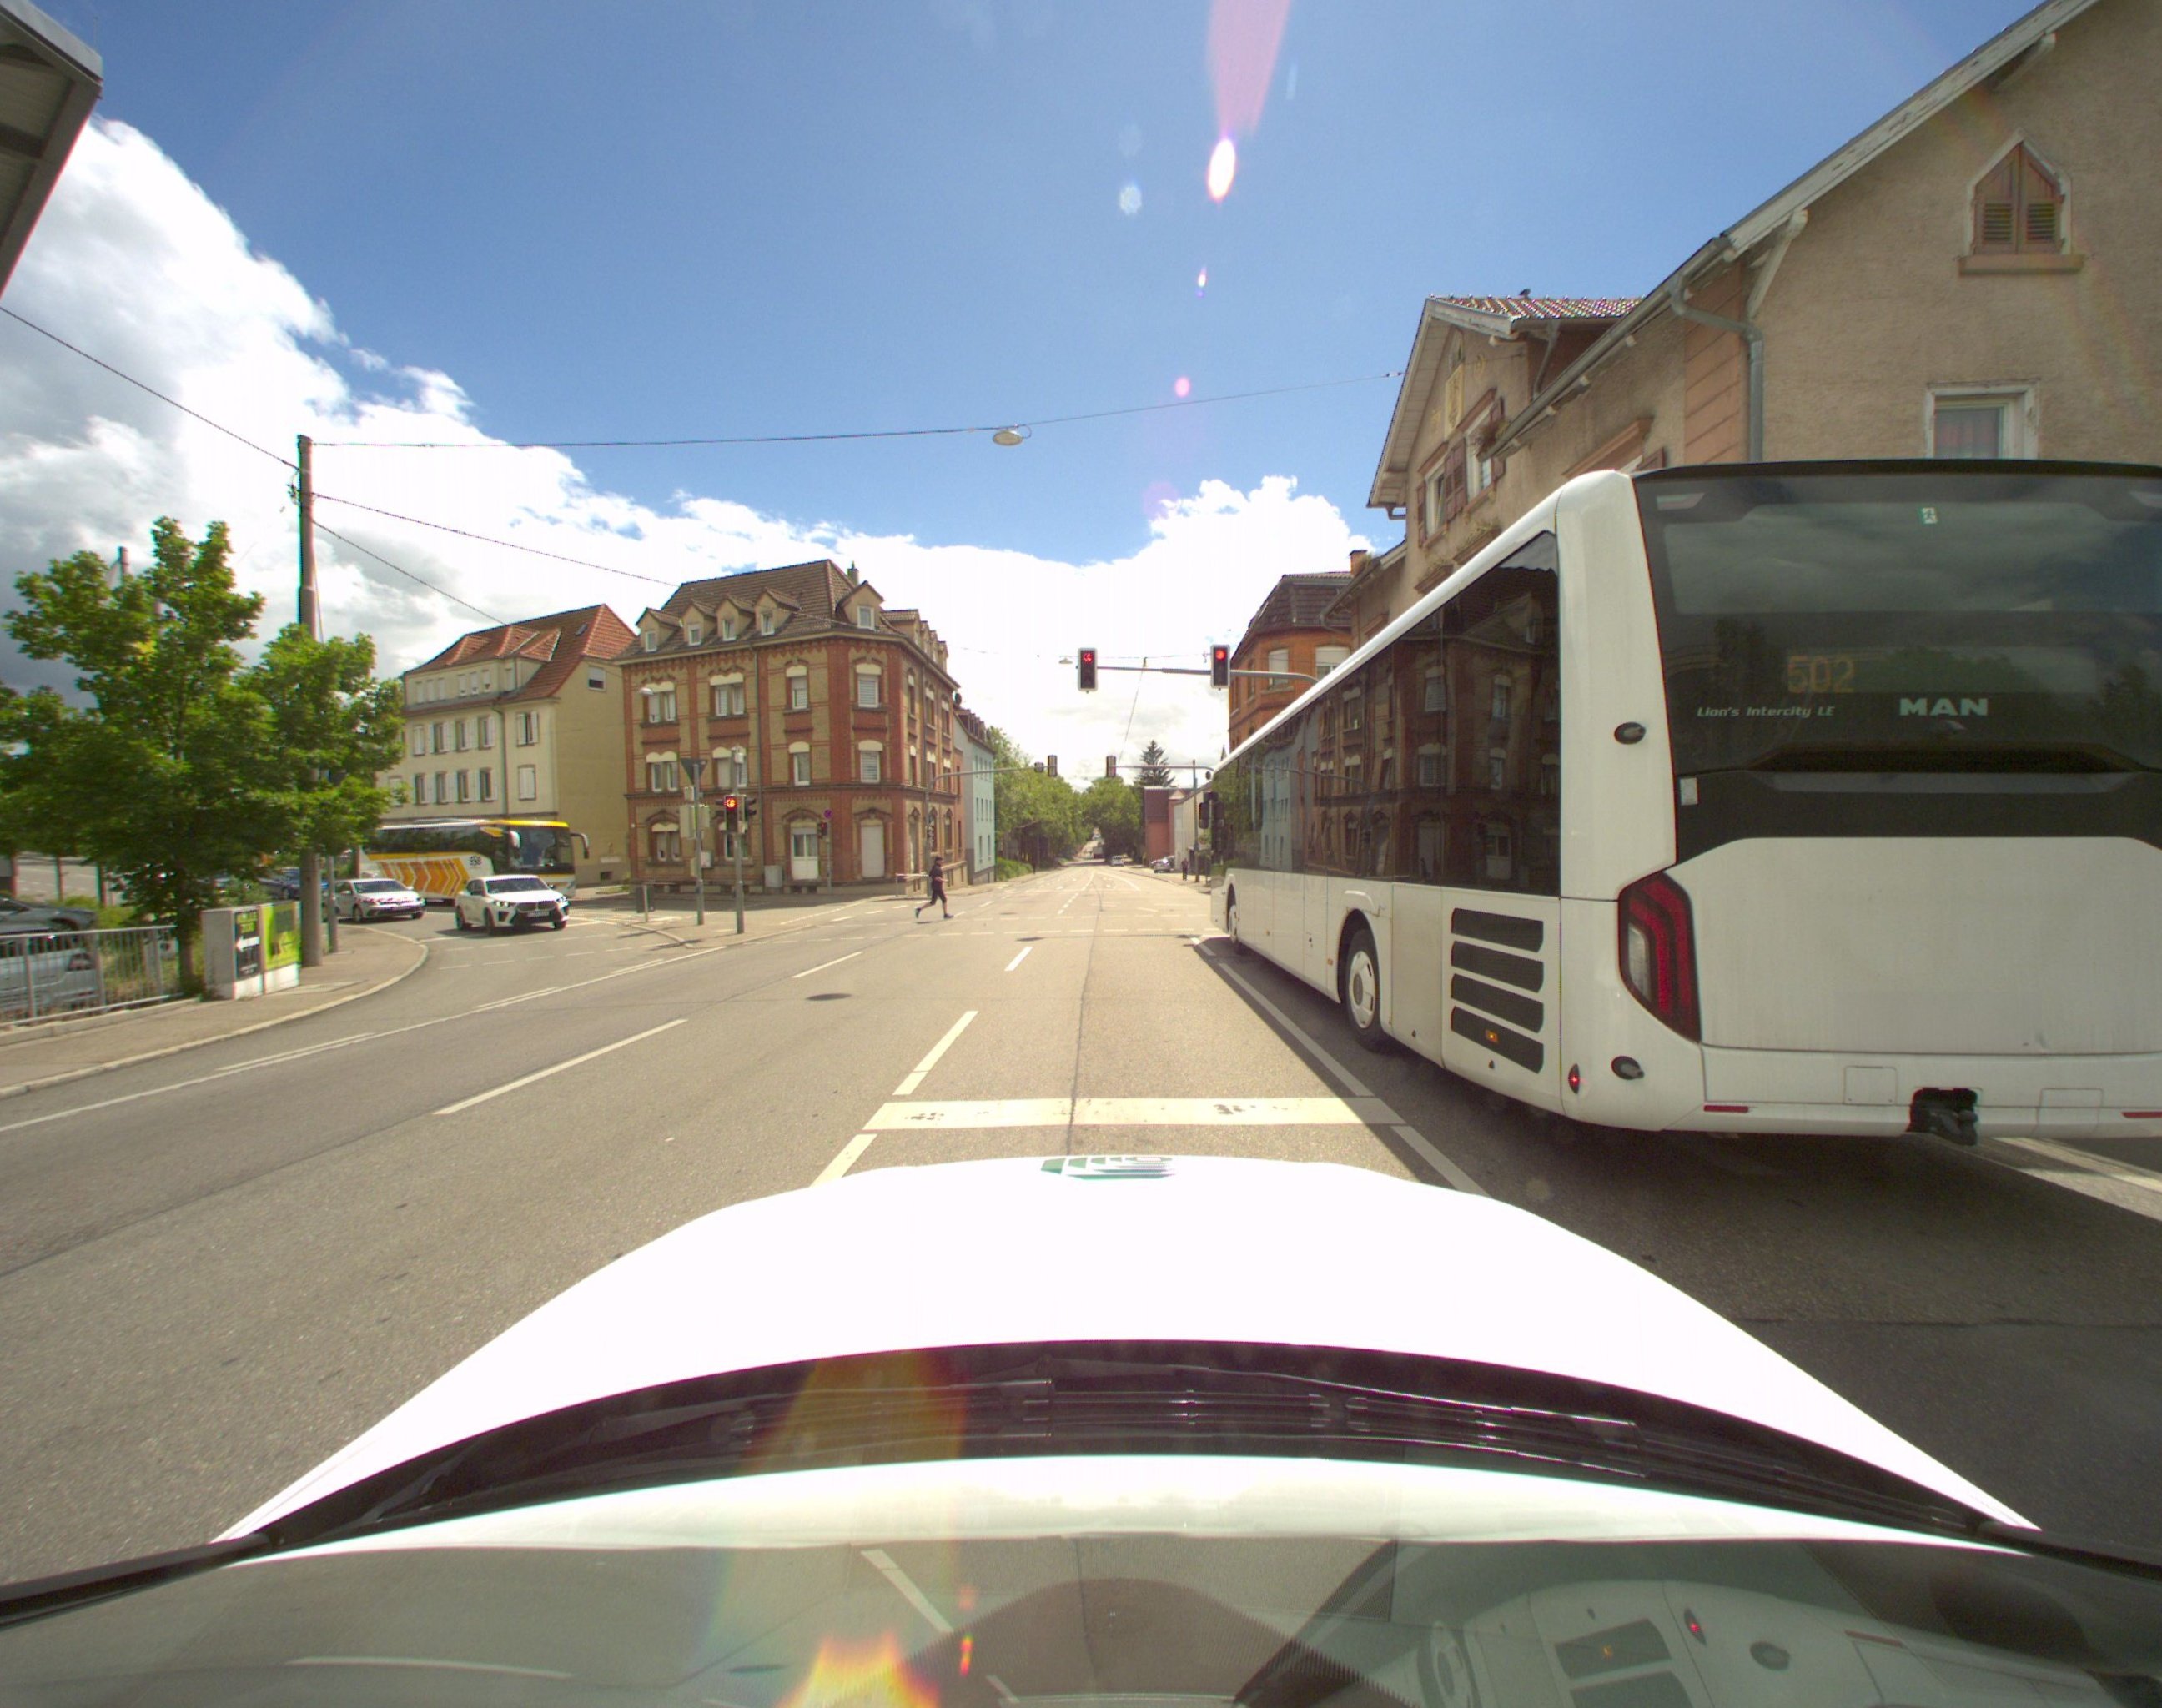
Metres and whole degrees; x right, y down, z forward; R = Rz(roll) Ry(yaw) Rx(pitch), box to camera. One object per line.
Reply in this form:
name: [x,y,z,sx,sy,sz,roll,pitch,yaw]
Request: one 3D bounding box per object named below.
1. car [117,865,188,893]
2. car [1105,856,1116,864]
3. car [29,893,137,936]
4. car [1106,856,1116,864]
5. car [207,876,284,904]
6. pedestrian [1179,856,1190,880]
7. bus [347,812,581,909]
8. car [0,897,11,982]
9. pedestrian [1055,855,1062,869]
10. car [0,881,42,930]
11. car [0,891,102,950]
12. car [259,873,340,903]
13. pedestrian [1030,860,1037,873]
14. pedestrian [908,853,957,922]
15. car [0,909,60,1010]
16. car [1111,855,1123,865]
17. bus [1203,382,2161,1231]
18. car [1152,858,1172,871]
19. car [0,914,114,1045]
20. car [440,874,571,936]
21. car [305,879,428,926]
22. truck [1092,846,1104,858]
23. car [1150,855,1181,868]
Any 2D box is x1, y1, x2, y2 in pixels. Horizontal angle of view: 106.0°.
car: [-53.691,1.454,47.093,3.949,1.554,1.923,-2,0,29]
car: [5.314,0.996,146.340,1.787,1.409,4.421,-1,0,3]
car: [-37.670,2.235,30.741,3.456,1.448,1.811,-2,0,26]
car: [5.750,1.131,154.015,1.787,1.409,4.421,-1,0,3]
car: [-45.730,1.935,44.548,3.949,1.409,1.923,-2,0,29]
pedestrian: [7.897,1.076,62.156,0.736,1.750,0.619,-2,0,1]
bus: [-26.420,0.356,34.587,12.110,3.622,2.788,-1,0,27]
car: [-23.436,1.757,16.474,3.455,1.680,1.663,-1,2,30]
pedestrian: [-3.430,1.228,125.550,0.991,2.013,1.189,-2,0,1]
car: [-36.264,1.726,25.658,1.785,1.554,4.023,-2,0,25]
car: [-29.509,1.849,22.119,1.777,1.477,3.522,-2,0,32]
car: [-38.992,1.698,40.643,3.949,1.409,1.762,-2,0,28]
pedestrian: [-5.538,1.453,94.262,0.727,1.565,0.561,-1,-1,0]
pedestrian: [-3.884,0.869,21.374,1.138,1.734,0.758,-2,0,-3]
car: [-19.579,1.845,14.194,3.455,1.526,1.626,-1,2,29]
car: [5.769,0.954,129.535,1.788,1.409,4.000,-1,0,1]
bus: [3.488,-0.169,9.312,2.662,3.155,12.467,-2,0,2]
car: [9.230,1.177,93.018,1.788,1.409,4.000,-2,0,1]
car: [-16.004,1.814,12.048,3.321,1.560,1.692,-1,2,32]
car: [-16.518,1.395,23.323,4.250,1.552,1.845,-1,0,37]
car: [-24.484,1.645,27.896,3.575,1.418,1.895,-2,0,26]
truck: [4.483,-0.582,219.733,2.917,3.081,7.883,-2,0,0]
car: [11.777,1.047,113.074,3.978,1.757,1.998,-2,0,-3]
